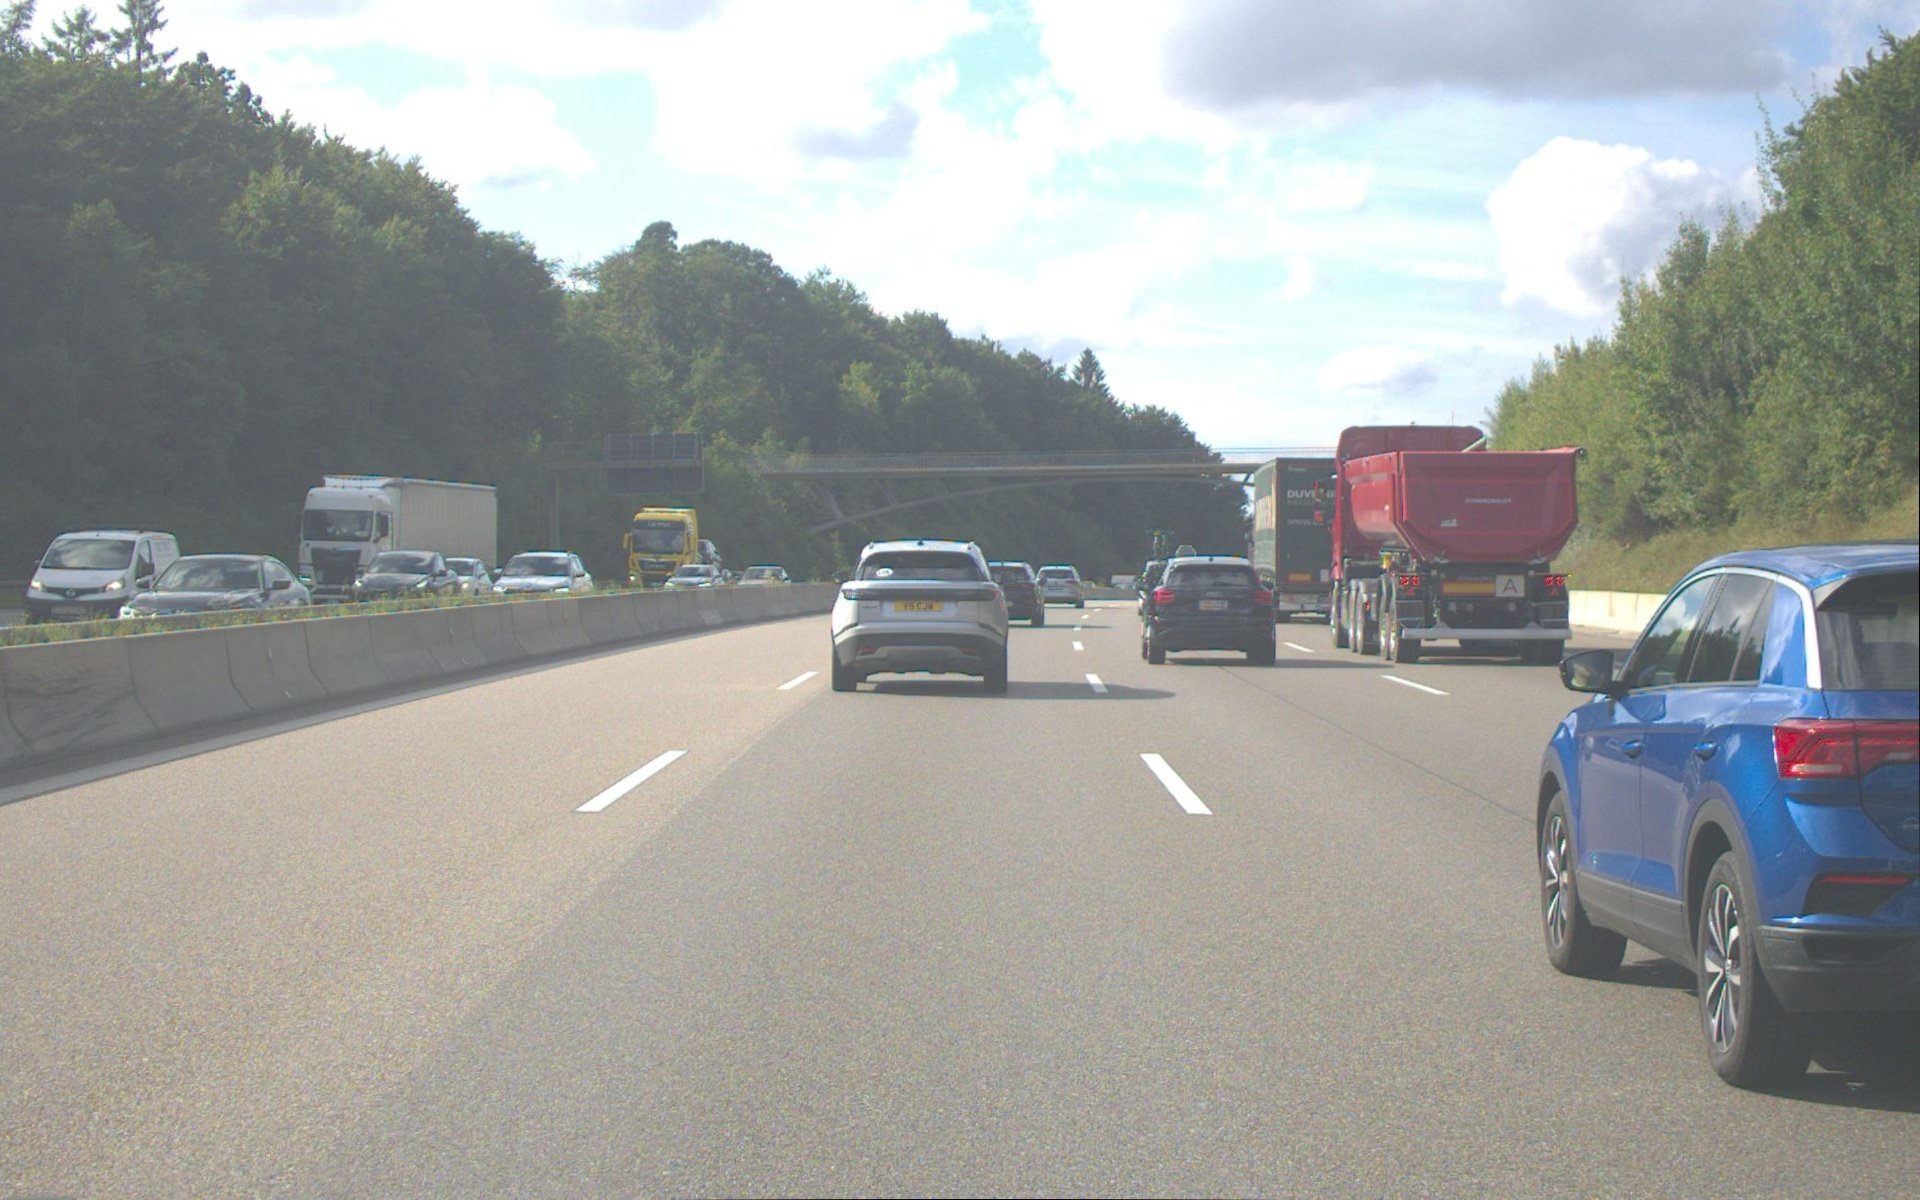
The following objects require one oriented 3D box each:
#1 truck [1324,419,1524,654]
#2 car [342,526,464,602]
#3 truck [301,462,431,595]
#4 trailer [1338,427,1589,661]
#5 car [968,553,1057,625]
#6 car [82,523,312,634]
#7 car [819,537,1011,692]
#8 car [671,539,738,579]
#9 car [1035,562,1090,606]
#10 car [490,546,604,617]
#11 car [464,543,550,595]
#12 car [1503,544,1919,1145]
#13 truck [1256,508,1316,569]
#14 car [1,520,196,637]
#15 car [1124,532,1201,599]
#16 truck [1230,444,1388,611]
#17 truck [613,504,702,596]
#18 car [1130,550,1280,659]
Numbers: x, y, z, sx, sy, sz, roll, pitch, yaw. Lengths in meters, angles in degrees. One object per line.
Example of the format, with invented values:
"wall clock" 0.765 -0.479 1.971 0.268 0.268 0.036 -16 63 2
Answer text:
"truck" 7.660 -1.059 57.449 2.710 3.706 5.817 1 1 2
"car" -12.879 -0.857 79.705 1.993 1.681 4.680 1 1 1
"truck" -18.767 -2.252 108.994 2.707 4.054 6.598 1 1 3
"trailer" 7.516 -0.865 52.543 2.710 3.220 9.732 1 1 2
"car" 1.210 -0.269 77.784 1.822 1.541 4.000 2 1 3
"car" -10.083 -0.315 45.779 1.993 1.385 4.748 1 1 0
"car" -0.501 0.102 38.865 2.006 1.611 5.301 1 1 -1
"car" -9.567 -1.549 128.987 1.993 1.481 4.983 1 1 2
"car" 3.551 -0.577 119.029 1.822 1.452 4.000 1 1 3
"car" -9.042 -0.429 75.589 1.754 1.503 4.679 1 1 2
"car" -13.568 -0.946 103.207 1.847 1.492 4.129 1 1 3
"car" 2.958 0.589 10.983 1.773 1.525 4.458 0 1 1
"truck" 16.106 -3.019 169.683 2.845 2.915 8.384 1 1 5
"car" -14.276 -0.385 57.208 1.993 1.831 4.730 1 1 1
"car" 5.741 -1.006 97.979 1.893 1.850 4.101 1 1 -1
"truck" 8.653 -1.813 86.423 3.118 3.921 10.411 1 1 1
"truck" -12.720 -2.120 144.963 2.777 3.797 7.134 0 1 3
"car" 3.455 0.033 49.117 1.822 1.452 4.000 1 1 0
